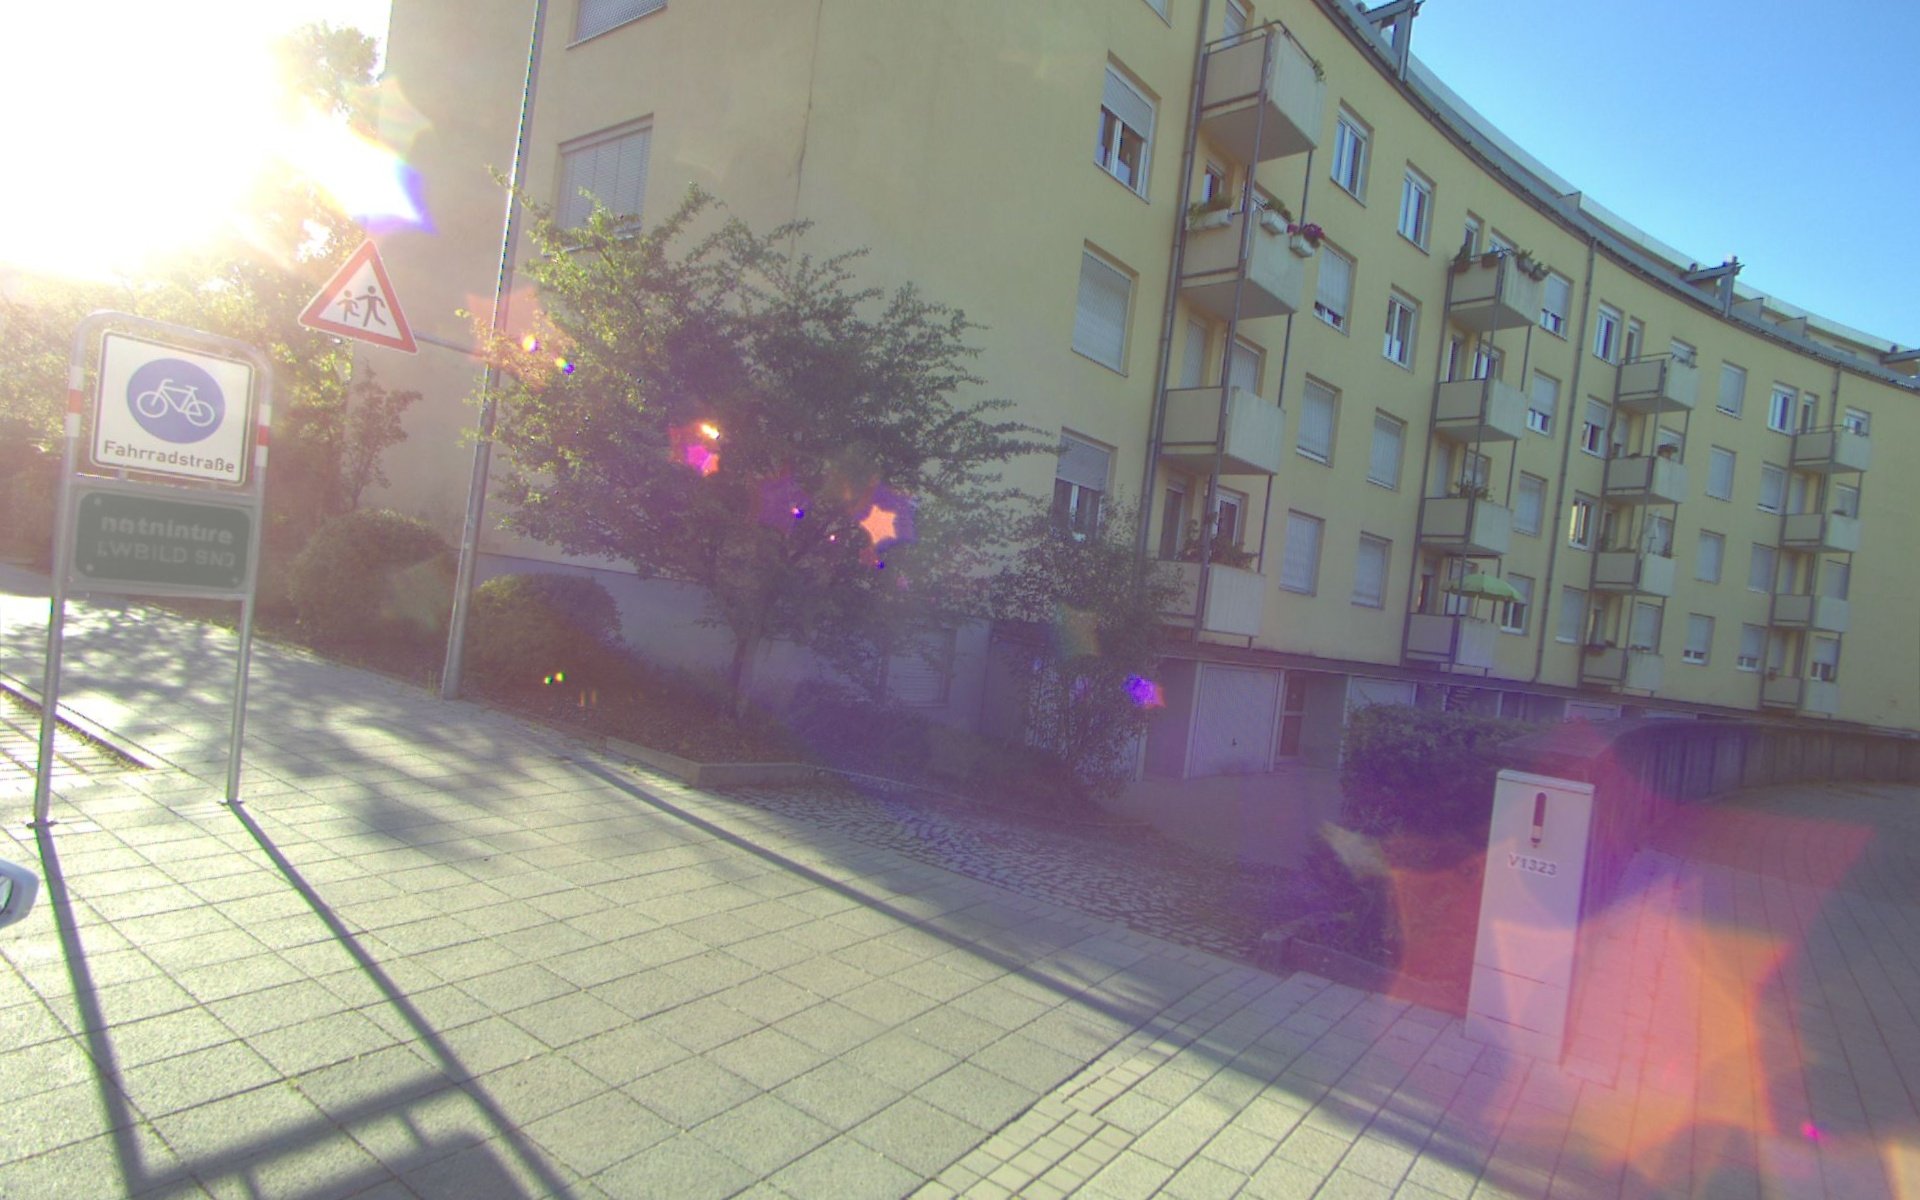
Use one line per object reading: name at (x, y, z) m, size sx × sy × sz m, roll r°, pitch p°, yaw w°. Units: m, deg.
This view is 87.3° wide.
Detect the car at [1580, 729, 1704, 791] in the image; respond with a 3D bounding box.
car at (18.868, 4.429, 27.818) m, size 3.341 × 1.295 × 1.627 m, roll 8°, pitch -1°, yaw -34°

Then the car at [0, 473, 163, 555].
car at (-24.021, -2.305, 27.257) m, size 1.621 × 1.661 × 3.487 m, roll 7°, pitch -1°, yaw 42°
